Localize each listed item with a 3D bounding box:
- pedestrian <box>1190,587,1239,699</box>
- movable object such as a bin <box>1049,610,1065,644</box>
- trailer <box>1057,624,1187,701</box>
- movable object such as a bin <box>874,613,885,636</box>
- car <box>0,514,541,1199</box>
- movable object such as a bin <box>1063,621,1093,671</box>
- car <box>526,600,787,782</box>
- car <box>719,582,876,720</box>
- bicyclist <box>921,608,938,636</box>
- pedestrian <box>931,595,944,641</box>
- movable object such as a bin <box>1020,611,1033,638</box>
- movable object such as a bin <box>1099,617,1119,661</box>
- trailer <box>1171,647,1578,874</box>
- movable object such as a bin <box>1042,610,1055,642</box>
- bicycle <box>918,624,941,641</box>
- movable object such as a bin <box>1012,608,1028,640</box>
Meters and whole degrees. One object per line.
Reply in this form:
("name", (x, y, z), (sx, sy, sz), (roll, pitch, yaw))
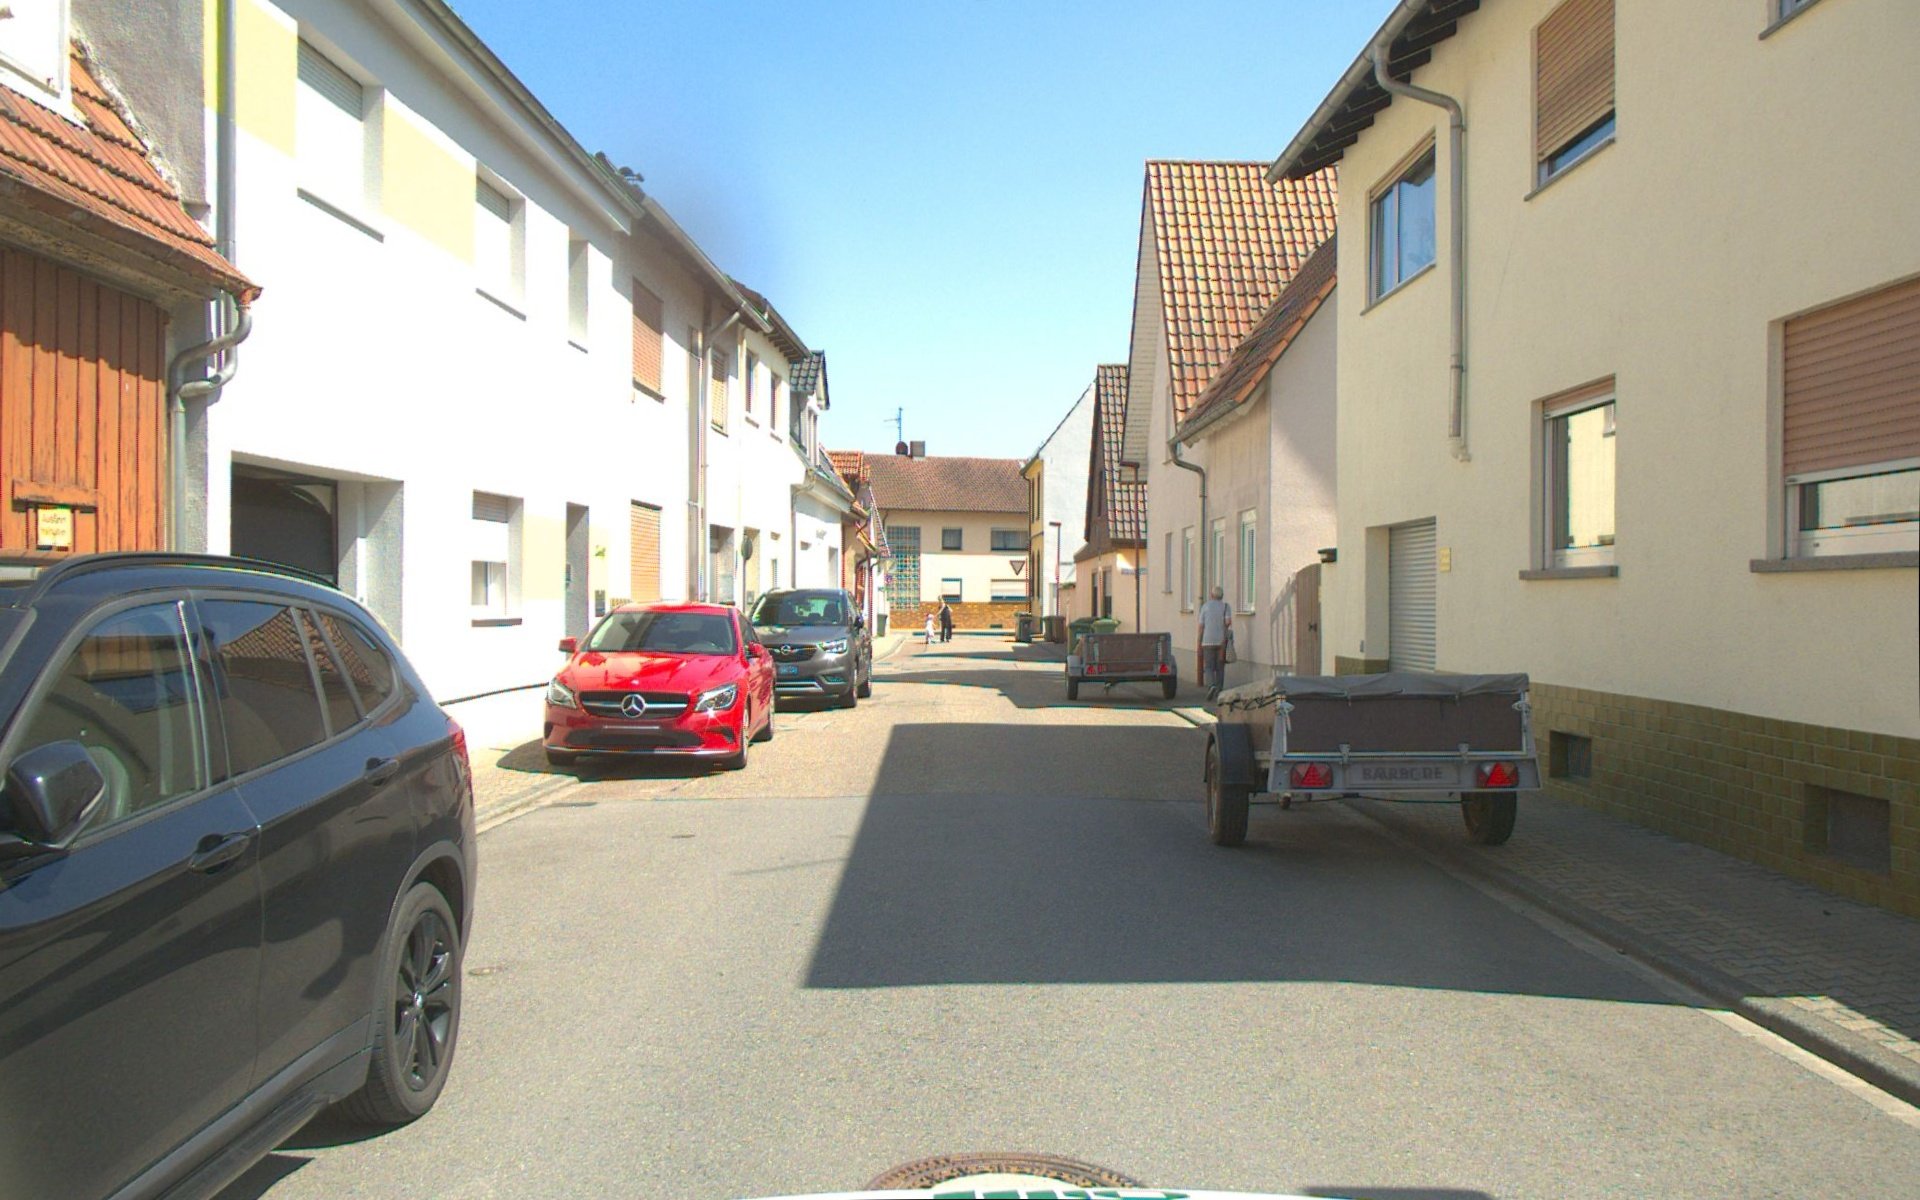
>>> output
("pedestrian", (3.648, 0.625, 23.731), (0.583, 1.592, 0.556), (0, -4, -2))
("movable object such as a bin", (3.349, 0.940, 57.334), (0.514, 1.147, 0.366), (0, -1, -3))
("trailer", (2.431, 0.921, 25.545), (1.665, 1.051, 3.481), (0, 0, 0))
("movable object such as a bin", (-3.228, 0.990, 66.425), (0.439, 0.937, 0.404), (0, 0, -3))
("car", (-2.347, 0.679, 3.322), (1.763, 1.601, 4.615), (-1, 0, 1))
("movable object such as a bin", (2.533, 0.988, 35.547), (0.573, 1.051, 0.595), (-1, 0, -1))
("car", (-2.720, 0.752, 15.801), (1.763, 1.466, 4.486), (-1, 0, -2))
("car", (-2.216, 0.666, 23.612), (1.763, 1.733, 4.487), (-1, 0, 0))
("bicyclist", (-1.068, 0.765, 57.940), (0.456, 0.976, 0.348), (0, -1, -29))
("pedestrian", (-0.795, 0.632, 58.764), (0.404, 1.638, 0.367), (0, -1, -10))
("movable object such as a bin", (2.430, 0.900, 60.458), (0.415, 0.992, 0.473), (0, 0, -3))
("movable object such as a bin", (3.779, 0.980, 42.022), (0.448, 1.106, 0.502), (0, -1, -1))
("trailer", (2.451, 0.914, 10.627), (1.780, 1.109, 3.481), (0, 0, 1))
("movable object such as a bin", (3.208, 0.951, 59.899), (0.417, 1.147, 0.413), (0, -1, -3))
("bicycle", (-1.063, 1.141, 57.890), (0.436, 0.577, 0.930), (0, 0, -28))
("movable object such as a bin", (2.227, 0.882, 61.065), (0.557, 1.147, 0.453), (0, 0, -3))
